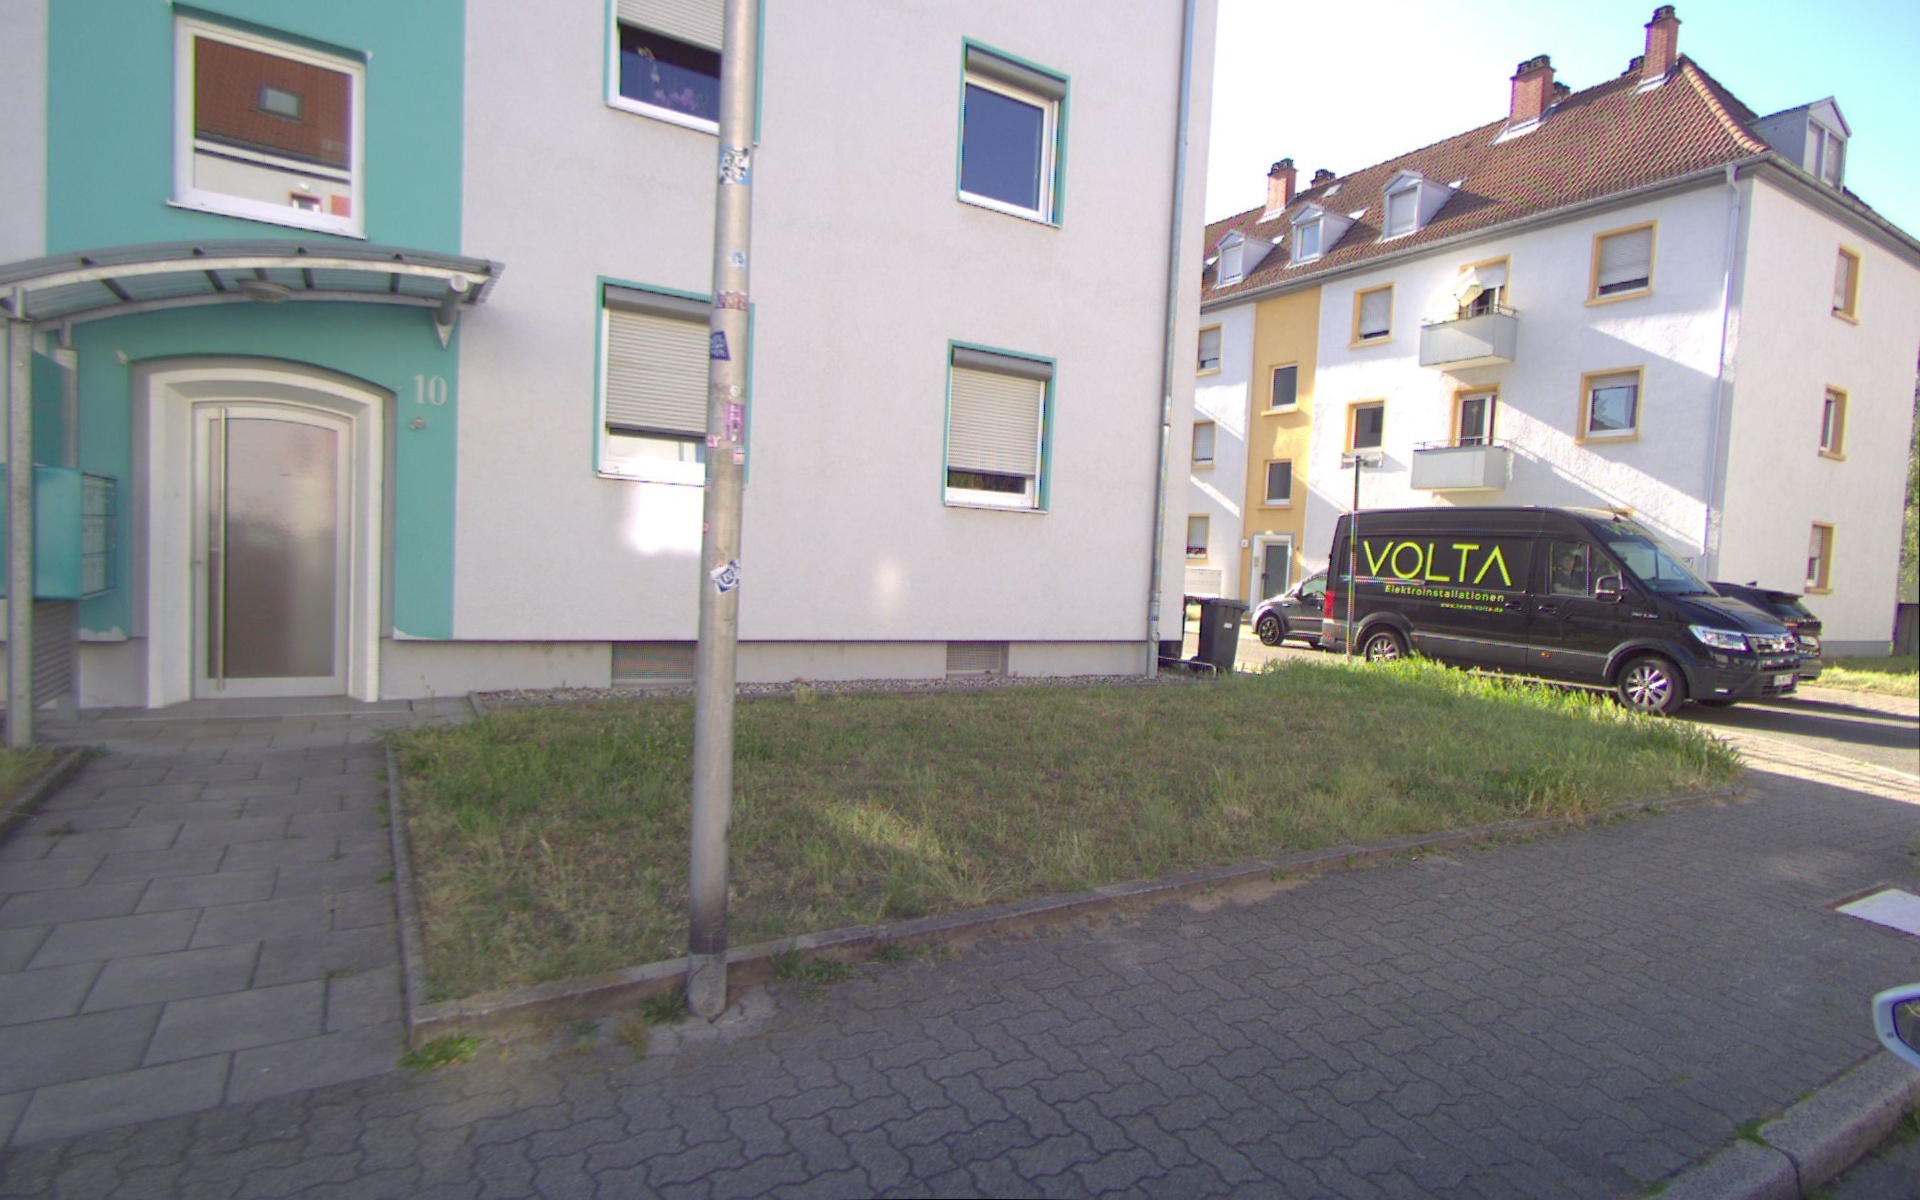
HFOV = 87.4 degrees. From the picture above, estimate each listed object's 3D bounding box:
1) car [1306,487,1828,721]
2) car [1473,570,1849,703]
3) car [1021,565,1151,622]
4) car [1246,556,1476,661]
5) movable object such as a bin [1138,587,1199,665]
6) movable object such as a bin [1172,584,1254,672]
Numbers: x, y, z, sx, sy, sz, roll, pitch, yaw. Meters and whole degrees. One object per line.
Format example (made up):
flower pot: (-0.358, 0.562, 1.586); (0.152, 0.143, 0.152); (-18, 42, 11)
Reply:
car: (7.976, -0.112, 14.083); (1.978, 2.579, 5.908); (1, 3, -31)
car: (10.684, 0.465, 15.716); (1.700, 1.686, 4.465); (3, 1, -31)
car: (3.402, -0.209, 27.702); (1.763, 1.402, 3.540); (4, 0, -29)
car: (7.831, 0.113, 20.000); (1.700, 1.812, 3.970); (3, 1, -31)
movable object such as a bin: (2.671, 0.325, 12.877); (0.526, 0.962, 0.495); (1, 3, -31)
movable object such as a bin: (3.097, 0.336, 12.297); (0.707, 1.005, 0.609); (1, 4, -32)
